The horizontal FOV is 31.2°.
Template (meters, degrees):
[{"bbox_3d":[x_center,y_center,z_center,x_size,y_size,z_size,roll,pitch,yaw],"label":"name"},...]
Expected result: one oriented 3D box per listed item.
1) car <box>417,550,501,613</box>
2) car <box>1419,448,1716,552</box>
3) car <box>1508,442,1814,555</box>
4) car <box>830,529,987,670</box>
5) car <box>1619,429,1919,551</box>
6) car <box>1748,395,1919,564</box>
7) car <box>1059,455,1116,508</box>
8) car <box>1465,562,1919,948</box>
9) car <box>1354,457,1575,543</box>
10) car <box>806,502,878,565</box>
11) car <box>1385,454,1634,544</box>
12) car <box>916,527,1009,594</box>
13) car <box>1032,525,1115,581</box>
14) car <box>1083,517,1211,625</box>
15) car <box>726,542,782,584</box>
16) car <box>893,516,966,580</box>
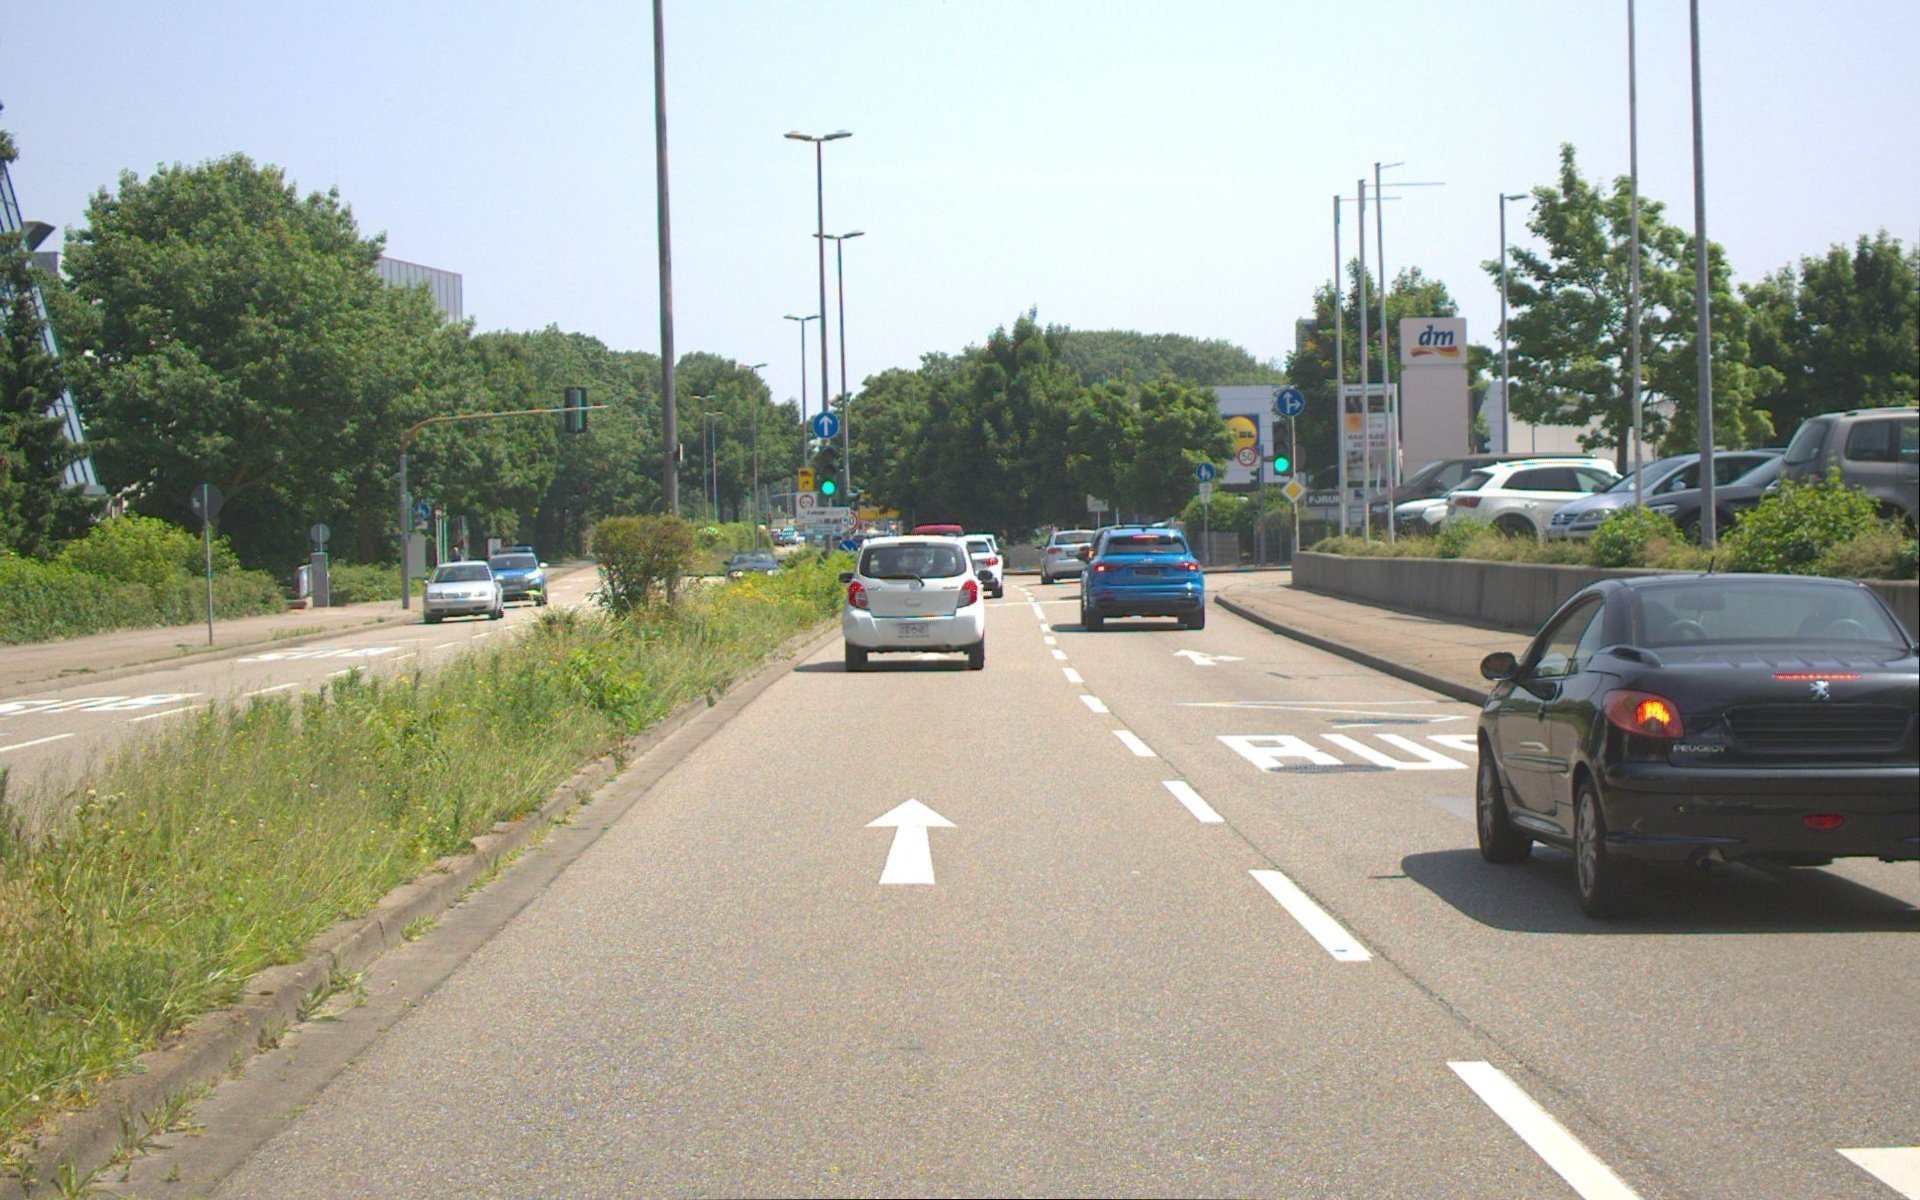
[{"bbox_3d":[-12.014,-0.457,82.591,1.735,1.408,4.372,-2,1,-5],"label":"car"},{"bbox_3d":[10.061,-1.649,57.169,4.535,1.539,2.000,-2,1,-1],"label":"car"},{"bbox_3d":[10.005,-1.445,49.089,3.920,1.447,1.765,-3,1,-22],"label":"car"},{"bbox_3d":[-0.558,-0.044,40.276,1.748,1.515,3.746,0,2,1],"label":"car"},{"bbox_3d":[10.543,-1.371,42.494,4.319,1.364,2.000,-2,1,-2],"label":"car"},{"bbox_3d":[10.471,-1.275,35.295,4.226,1.641,2.000,-2,1,-1],"label":"car"},{"bbox_3d":[5.064,-4.707,136.747,1.769,2.006,3.992,-2,2,-4],"label":"car"},{"bbox_3d":[3.259,0.569,14.788,1.627,1.359,3.606,0,2,0],"label":"car"},{"bbox_3d":[10.004,-1.979,68.356,3.986,1.539,2.000,-2,1,-2],"label":"car"},{"bbox_3d":[-3.368,-1.896,97.458,1.819,1.656,4.001,-2,2,-5],"label":"car"},{"bbox_3d":[10.466,-1.924,65.719,4.346,1.539,2.000,-2,1,-2],"label":"car"},{"bbox_3d":[0.030,-0.910,77.895,1.993,1.437,4.000,-2,1,-1],"label":"car"},{"bbox_3d":[3.036,-1.276,92.477,1.993,1.415,4.000,-2,1,-1],"label":"car"},{"bbox_3d":[2.920,-0.483,54.416,1.828,1.574,3.606,-1,2,0],"label":"car"},{"bbox_3d":[-6.492,-1.176,107.955,1.573,1.264,3.731,-2,1,-6],"label":"car"},{"bbox_3d":[-0.877,-1.478,97.299,1.775,1.734,4.001,-2,1,-4],"label":"car"}]
